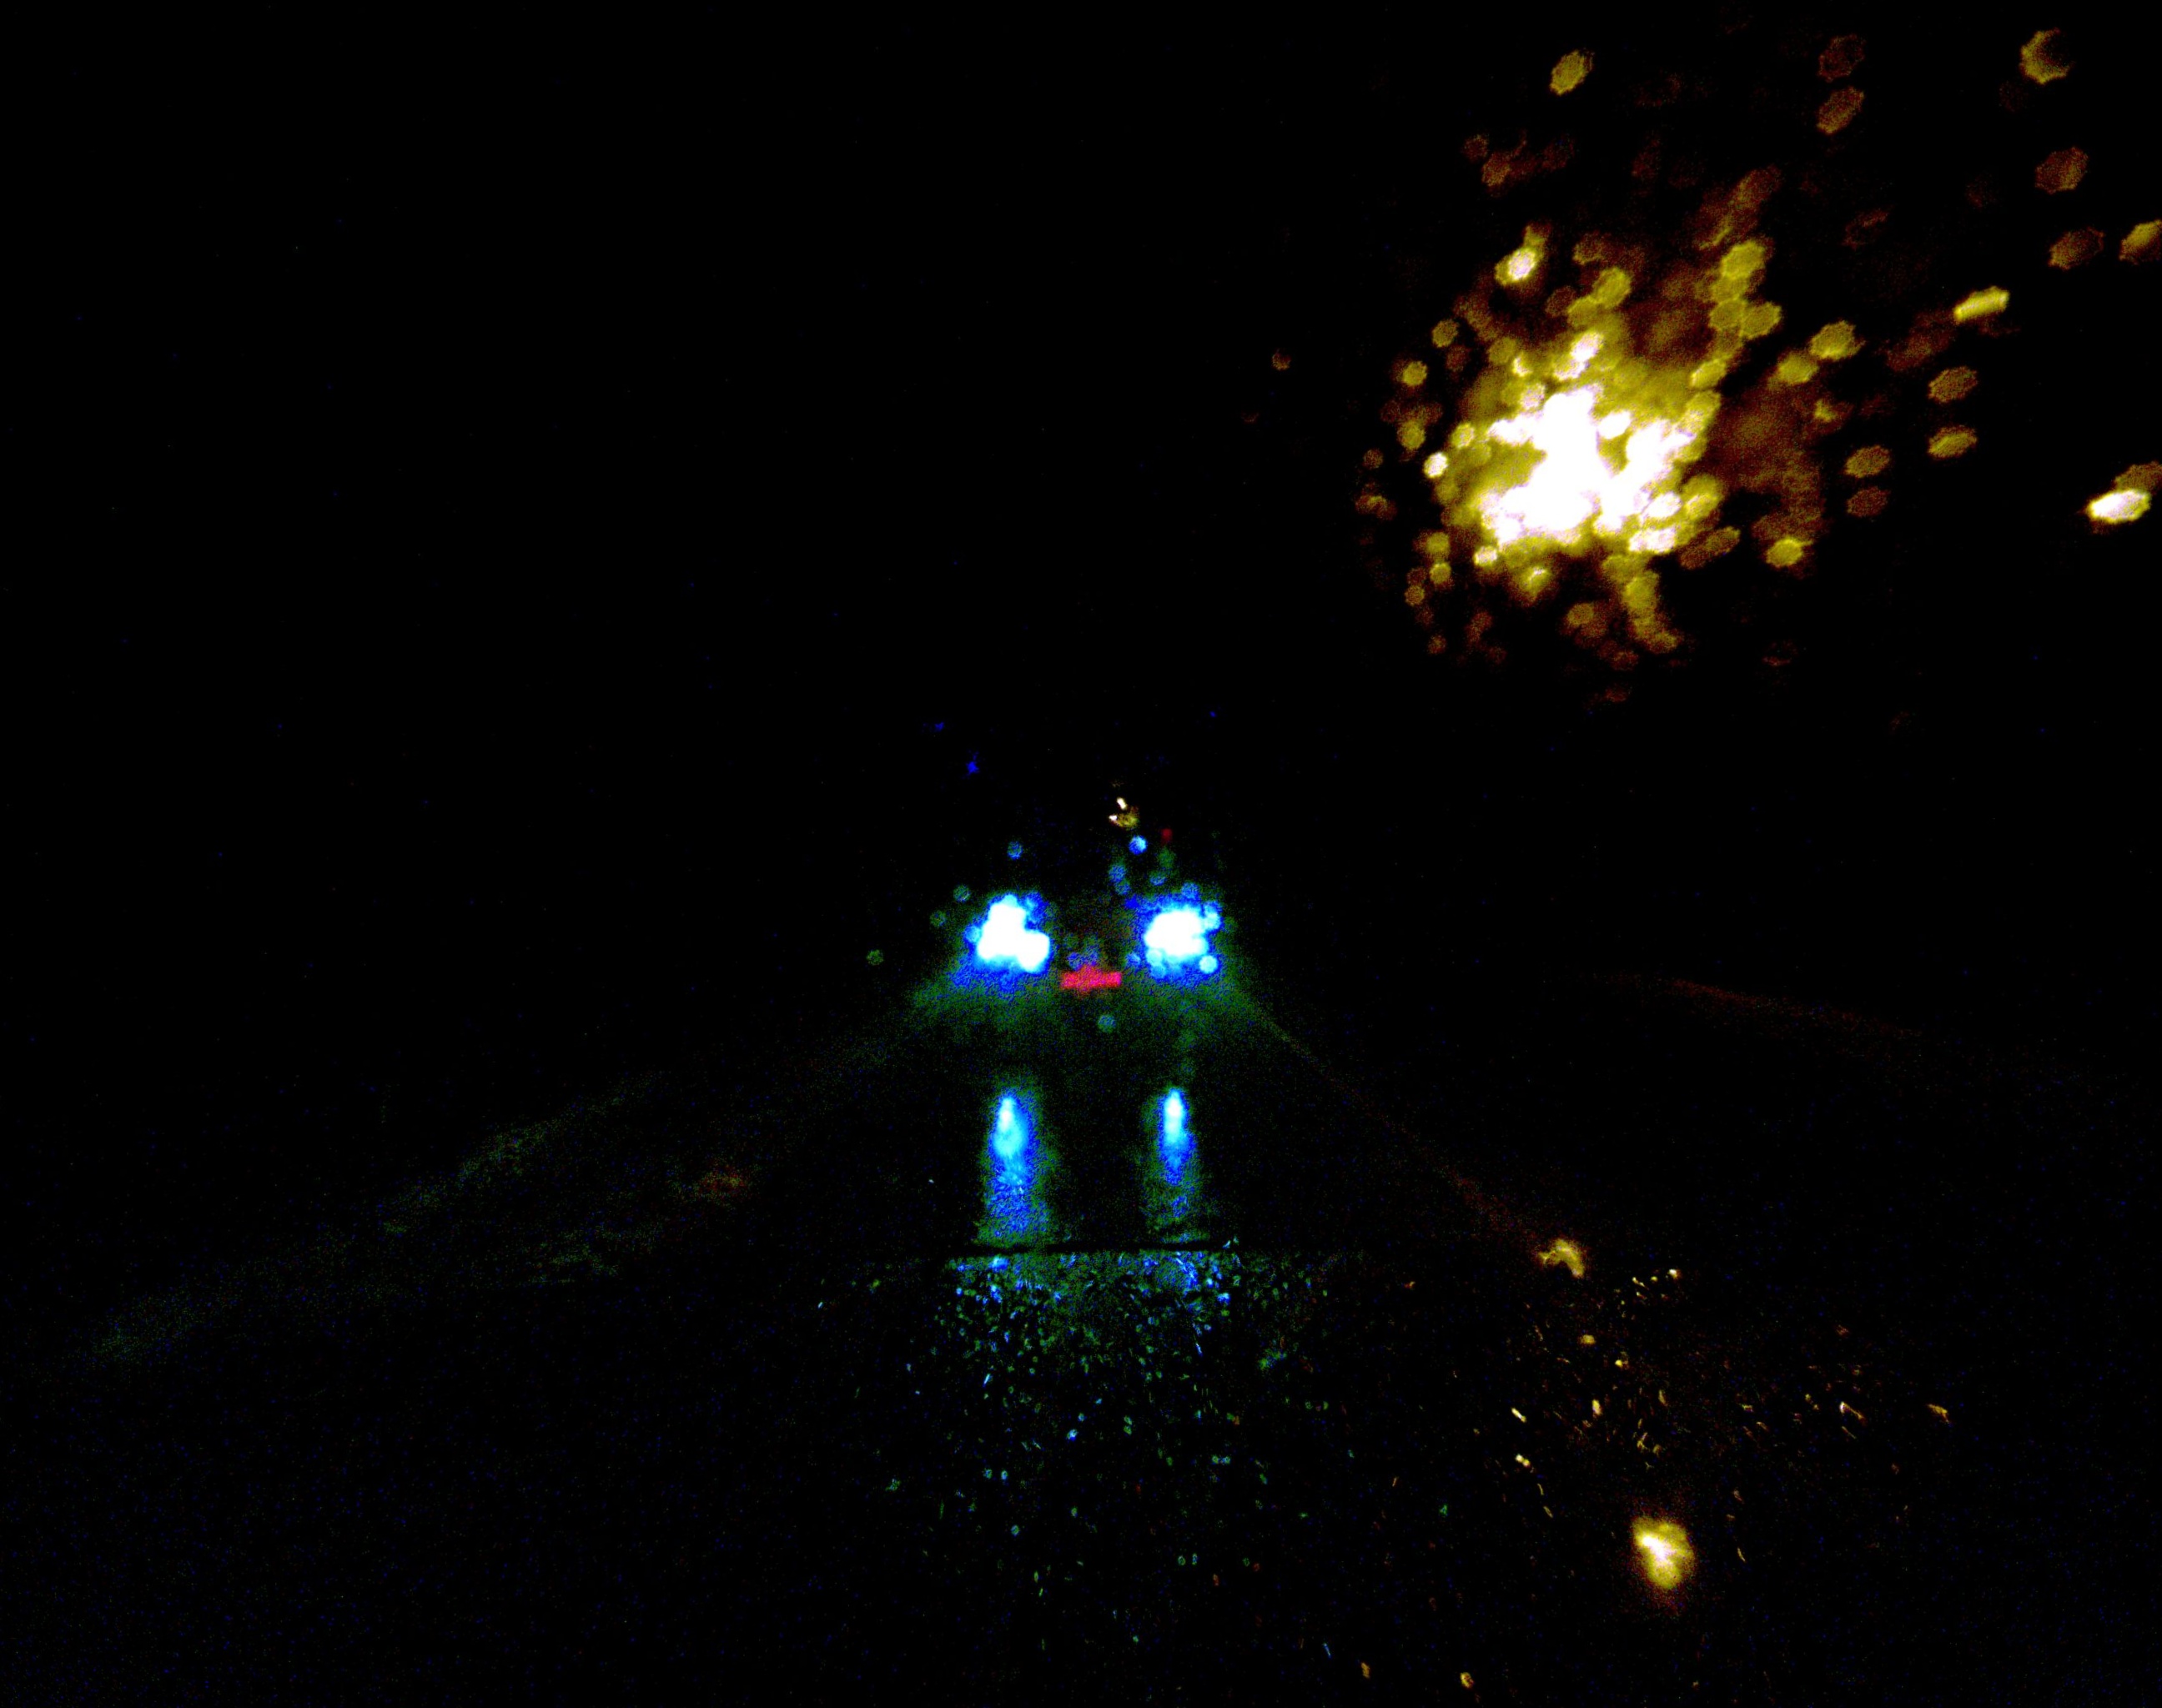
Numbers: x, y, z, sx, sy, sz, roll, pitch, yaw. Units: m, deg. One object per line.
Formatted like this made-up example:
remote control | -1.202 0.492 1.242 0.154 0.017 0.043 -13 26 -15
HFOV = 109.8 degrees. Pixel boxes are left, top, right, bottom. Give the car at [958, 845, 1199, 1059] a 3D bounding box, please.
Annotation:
car | 0.074 0.768 8.242 1.893 1.678 4.339 -1 1 2
